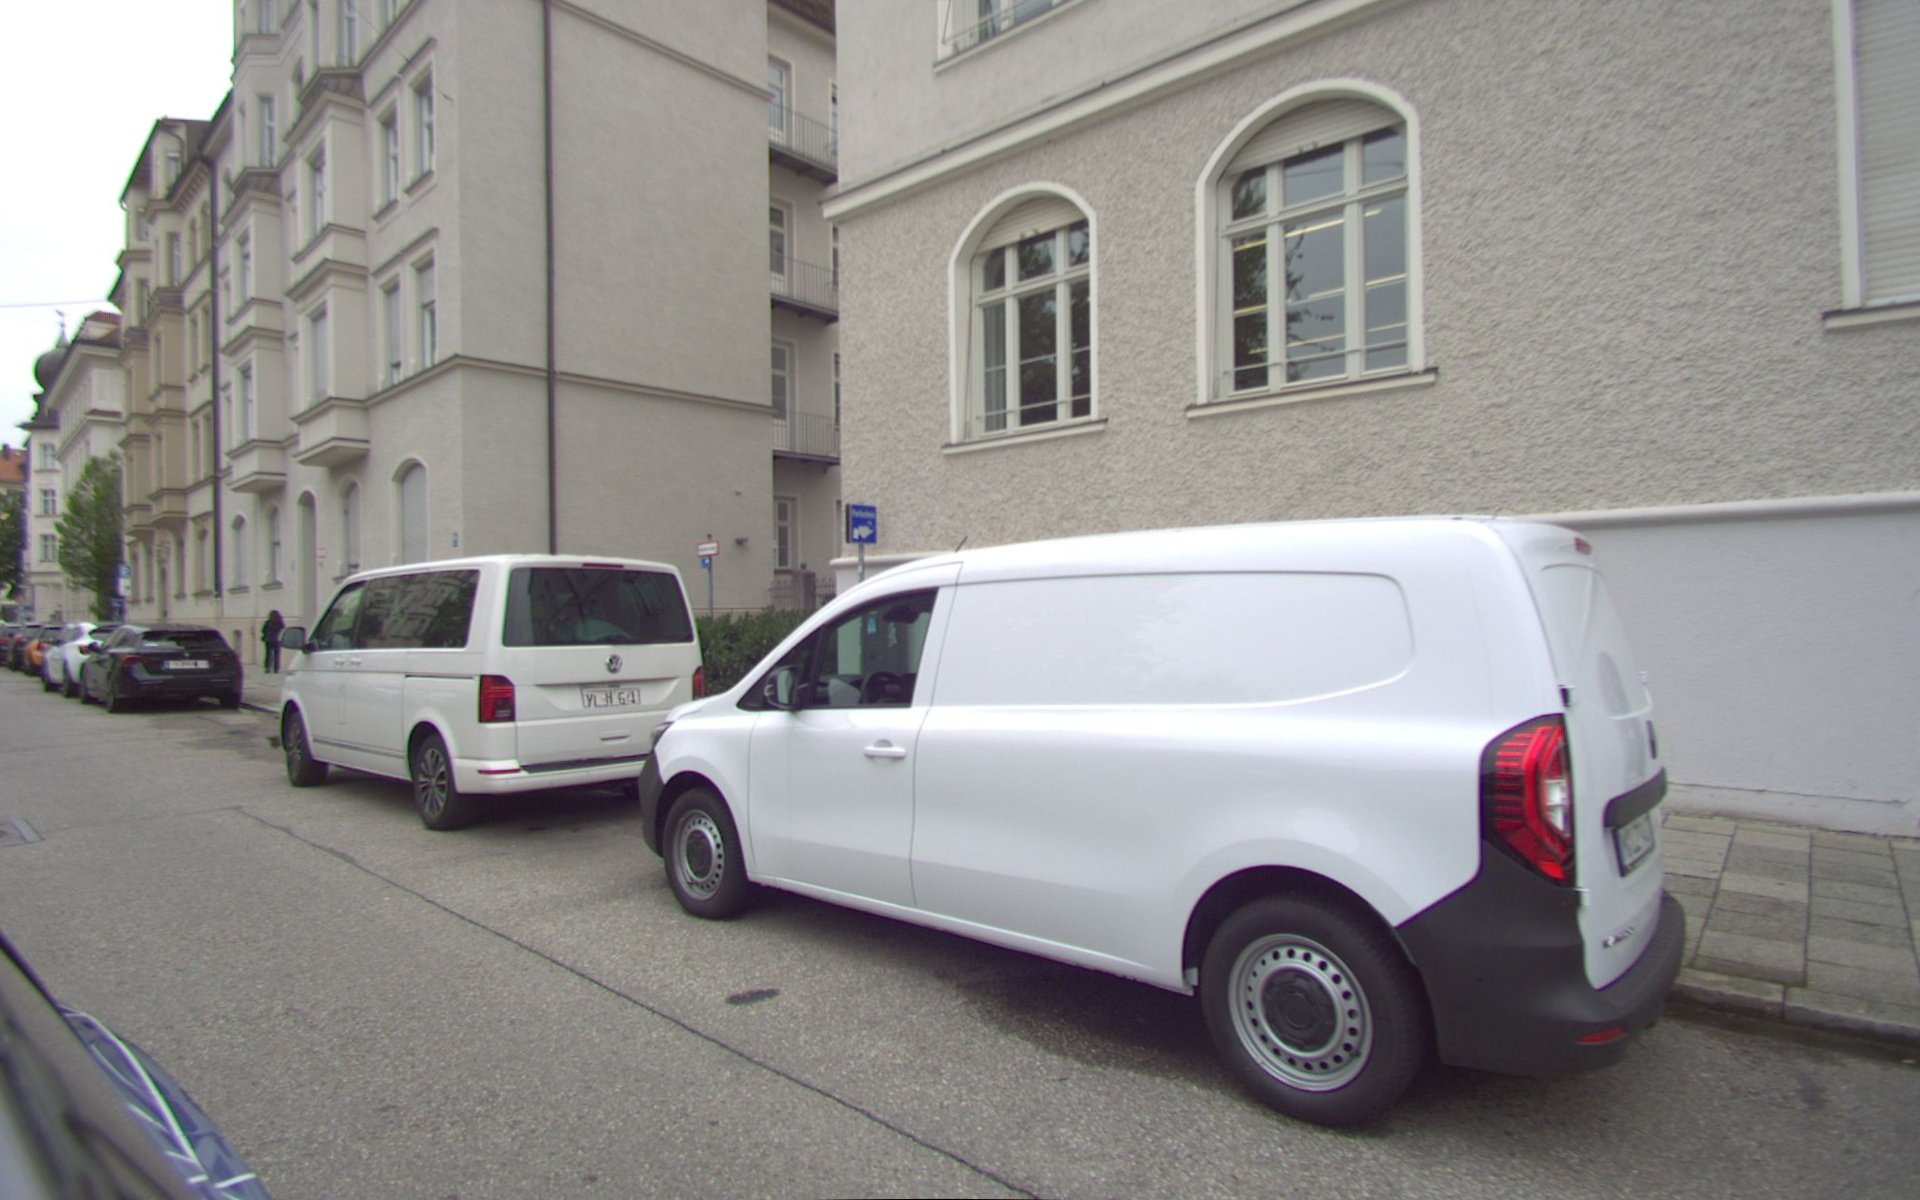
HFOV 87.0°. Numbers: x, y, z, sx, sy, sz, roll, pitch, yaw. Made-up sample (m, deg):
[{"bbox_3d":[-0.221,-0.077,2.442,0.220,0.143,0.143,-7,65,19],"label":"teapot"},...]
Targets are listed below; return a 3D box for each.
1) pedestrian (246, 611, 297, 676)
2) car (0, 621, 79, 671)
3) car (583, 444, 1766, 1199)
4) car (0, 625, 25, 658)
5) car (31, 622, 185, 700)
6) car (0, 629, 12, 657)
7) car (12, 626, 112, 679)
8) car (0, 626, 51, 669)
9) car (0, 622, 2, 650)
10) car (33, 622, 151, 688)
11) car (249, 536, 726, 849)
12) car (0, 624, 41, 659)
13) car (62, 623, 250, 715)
[{"bbox_3d":[-17.528,1.092,25.761,1.052,1.620,0.864,-1,-1,42],"label":"pedestrian"},{"bbox_3d":[-28.919,1.413,31.720,3.942,1.467,1.605,-2,-2,44],"label":"car"},{"bbox_3d":[0.384,0.609,4.585,5.034,1.802,1.728,-1,-2,41],"label":"car"},{"bbox_3d":[-43.605,1.873,45.708,3.687,1.440,1.606,-1,-2,41],"label":"car"},{"bbox_3d":[-17.922,1.203,21.215,4.377,1.474,1.836,-1,-2,42],"label":"car"},{"bbox_3d":[-51.019,2.239,53.189,3.691,1.440,1.604,-2,-2,45],"label":"car"},{"bbox_3d":[-25.256,1.437,28.423,3.730,1.373,1.785,-2,-2,44],"label":"car"},{"bbox_3d":[-33.127,1.625,35.492,3.943,1.440,1.604,-2,-2,45],"label":"car"},{"bbox_3d":[-54.609,1.995,56.363,3.689,1.542,1.605,-2,-2,43],"label":"car"},{"bbox_3d":[-21.082,1.275,24.524,3.938,1.474,1.785,-2,-2,44],"label":"car"},{"bbox_3d":[-4.246,0.636,8.648,4.954,1.953,1.837,-1,-2,41],"label":"car"},{"bbox_3d":[-40.168,1.726,42.749,3.687,1.440,1.606,-1,-2,41],"label":"car"},{"bbox_3d":[-14.198,1.134,17.794,4.377,1.423,1.836,-1,-3,42],"label":"car"}]
